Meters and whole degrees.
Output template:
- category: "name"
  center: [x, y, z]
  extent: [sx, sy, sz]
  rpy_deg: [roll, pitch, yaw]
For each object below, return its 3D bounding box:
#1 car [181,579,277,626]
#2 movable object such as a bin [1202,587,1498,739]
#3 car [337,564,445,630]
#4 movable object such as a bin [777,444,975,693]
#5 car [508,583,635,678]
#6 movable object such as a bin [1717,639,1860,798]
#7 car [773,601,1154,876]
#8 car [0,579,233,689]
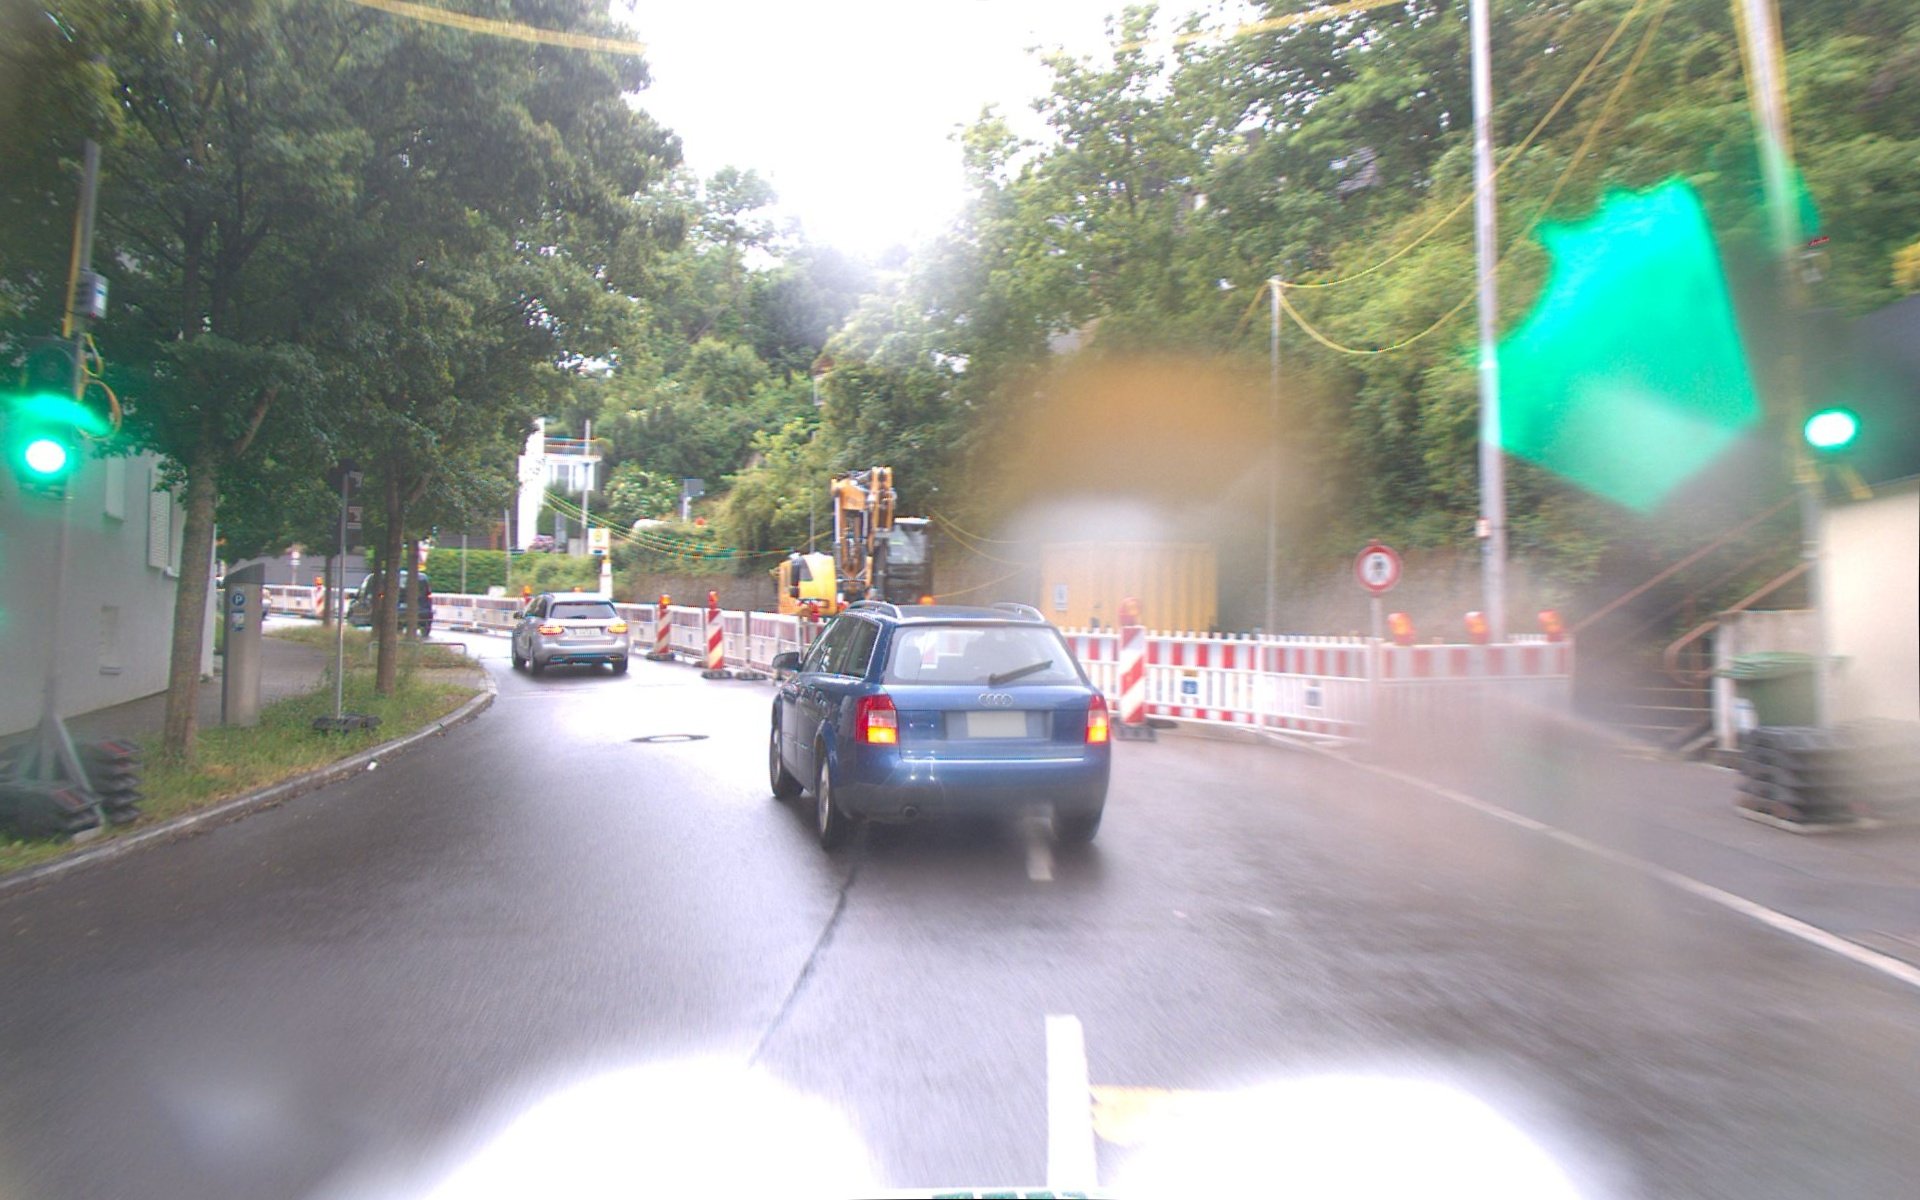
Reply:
- category: "car"
  center: [-26.187, 0.105, 59.199]
  extent: [4.005, 1.512, 1.715]
  rpy_deg: [-2, 0, 43]
- category: "movable object such as a bin"
  center: [4.395, 0.635, 19.316]
  extent: [1.957, 1.546, 3.991]
  rpy_deg: [0, 1, -10]
- category: "car"
  center: [-16.869, -0.068, 48.918]
  extent: [1.977, 1.825, 3.950]
  rpy_deg: [-2, 0, -35]
- category: "movable object such as a bin"
  center: [-1.777, -0.582, 31.065]
  extent: [2.768, 4.084, 7.309]
  rpy_deg: [-1, 1, -10]
- category: "car"
  center: [-7.443, 0.518, 31.445]
  extent: [1.897, 1.646, 4.296]
  rpy_deg: [-1, 1, -19]
- category: "movable object such as a bin"
  center: [5.741, 0.812, 11.491]
  extent: [0.704, 1.050, 0.592]
  rpy_deg: [-1, 0, 7]
- category: "car"
  center: [-0.178, 0.750, 11.009]
  extent: [1.754, 1.467, 3.952]
  rpy_deg: [1, 0, -12]
- category: "car"
  center: [-13.743, 0.519, 26.030]
  extent: [3.920, 1.588, 1.743]
  rpy_deg: [-1, 0, -15]
